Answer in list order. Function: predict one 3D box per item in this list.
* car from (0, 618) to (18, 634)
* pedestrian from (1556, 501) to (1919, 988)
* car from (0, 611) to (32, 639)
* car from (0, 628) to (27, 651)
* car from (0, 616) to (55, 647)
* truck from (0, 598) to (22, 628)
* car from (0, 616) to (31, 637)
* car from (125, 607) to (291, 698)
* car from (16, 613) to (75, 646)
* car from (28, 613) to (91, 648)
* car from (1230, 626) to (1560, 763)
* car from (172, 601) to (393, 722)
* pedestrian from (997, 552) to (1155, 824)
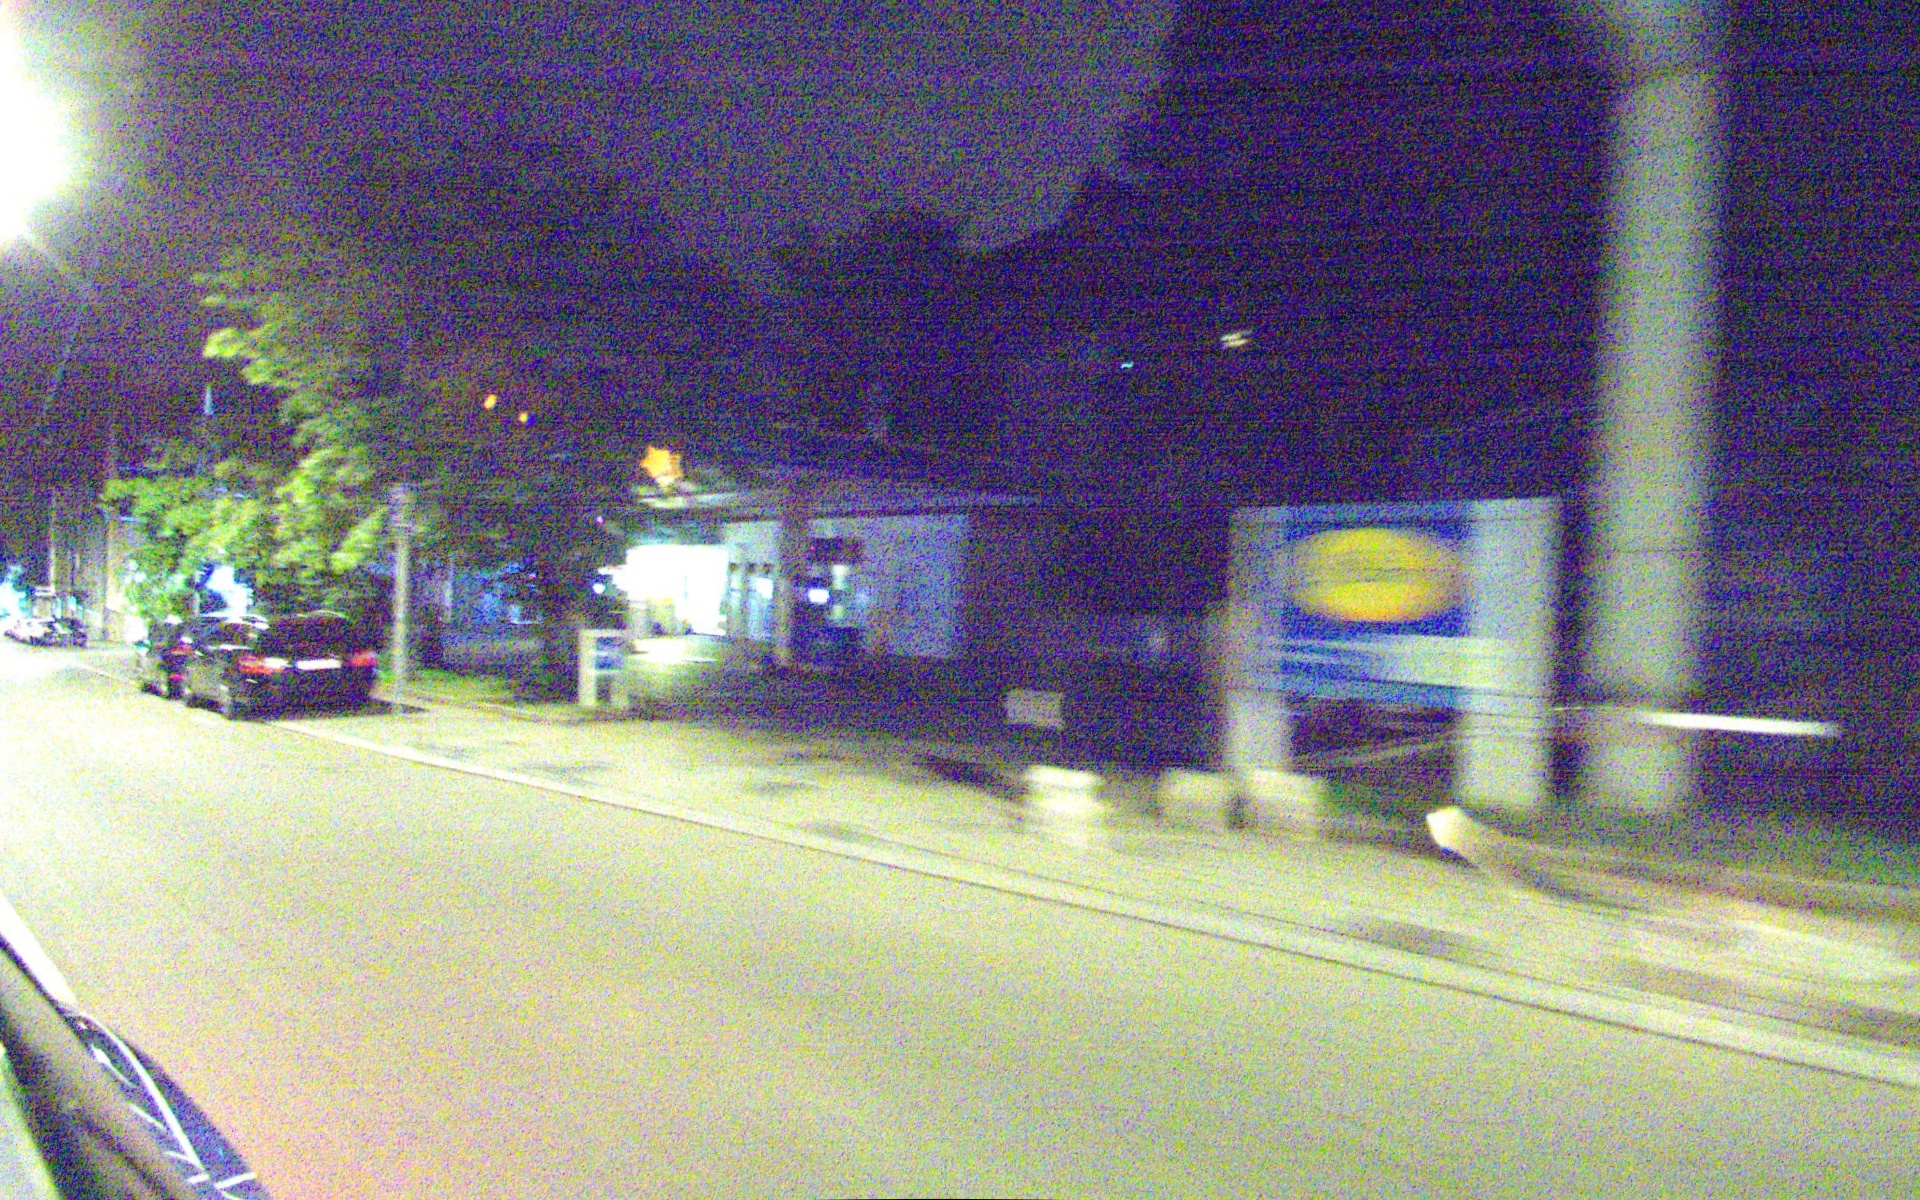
[{"bbox_3d":[-99.569,2.710,105.521,1.847,1.572,4.355,0,-1,-45],"label":"car"},{"bbox_3d":[3.171,0.503,4.154,1.103,1.684,0.734,-1,-1,44],"label":"pedestrian"},{"bbox_3d":[-58.709,1.561,62.371,3.998,1.657,1.849,-1,-1,41],"label":"car"},{"bbox_3d":[-67.239,2.774,71.485,1.847,1.572,4.002,0,-1,-45],"label":"car"},{"bbox_3d":[-52.539,1.765,57.000,3.998,1.657,1.849,-1,-1,41],"label":"car"},{"bbox_3d":[-83.433,1.154,88.312,2.055,2.596,6.877,0,-1,-45],"label":"truck"},{"bbox_3d":[-75.581,2.102,80.823,1.847,1.572,4.355,0,-1,-45],"label":"car"},{"bbox_3d":[-14.257,0.924,19.115,3.897,1.477,1.839,-1,0,43],"label":"car"},{"bbox_3d":[-47.776,1.519,52.847,3.998,1.657,1.849,-1,-1,41],"label":"car"},{"bbox_3d":[-44.431,1.481,49.921,3.998,1.657,1.849,-1,-1,41],"label":"car"},{"bbox_3d":[5.419,1.120,12.845,3.284,1.548,2.005,1,-1,-14],"label":"car"},{"bbox_3d":[-10.563,0.860,15.632,4.588,1.544,1.839,-1,0,43],"label":"car"},{"bbox_3d":[0.793,0.569,7.029,0.660,1.739,0.869,0,-1,-36],"label":"pedestrian"}]
